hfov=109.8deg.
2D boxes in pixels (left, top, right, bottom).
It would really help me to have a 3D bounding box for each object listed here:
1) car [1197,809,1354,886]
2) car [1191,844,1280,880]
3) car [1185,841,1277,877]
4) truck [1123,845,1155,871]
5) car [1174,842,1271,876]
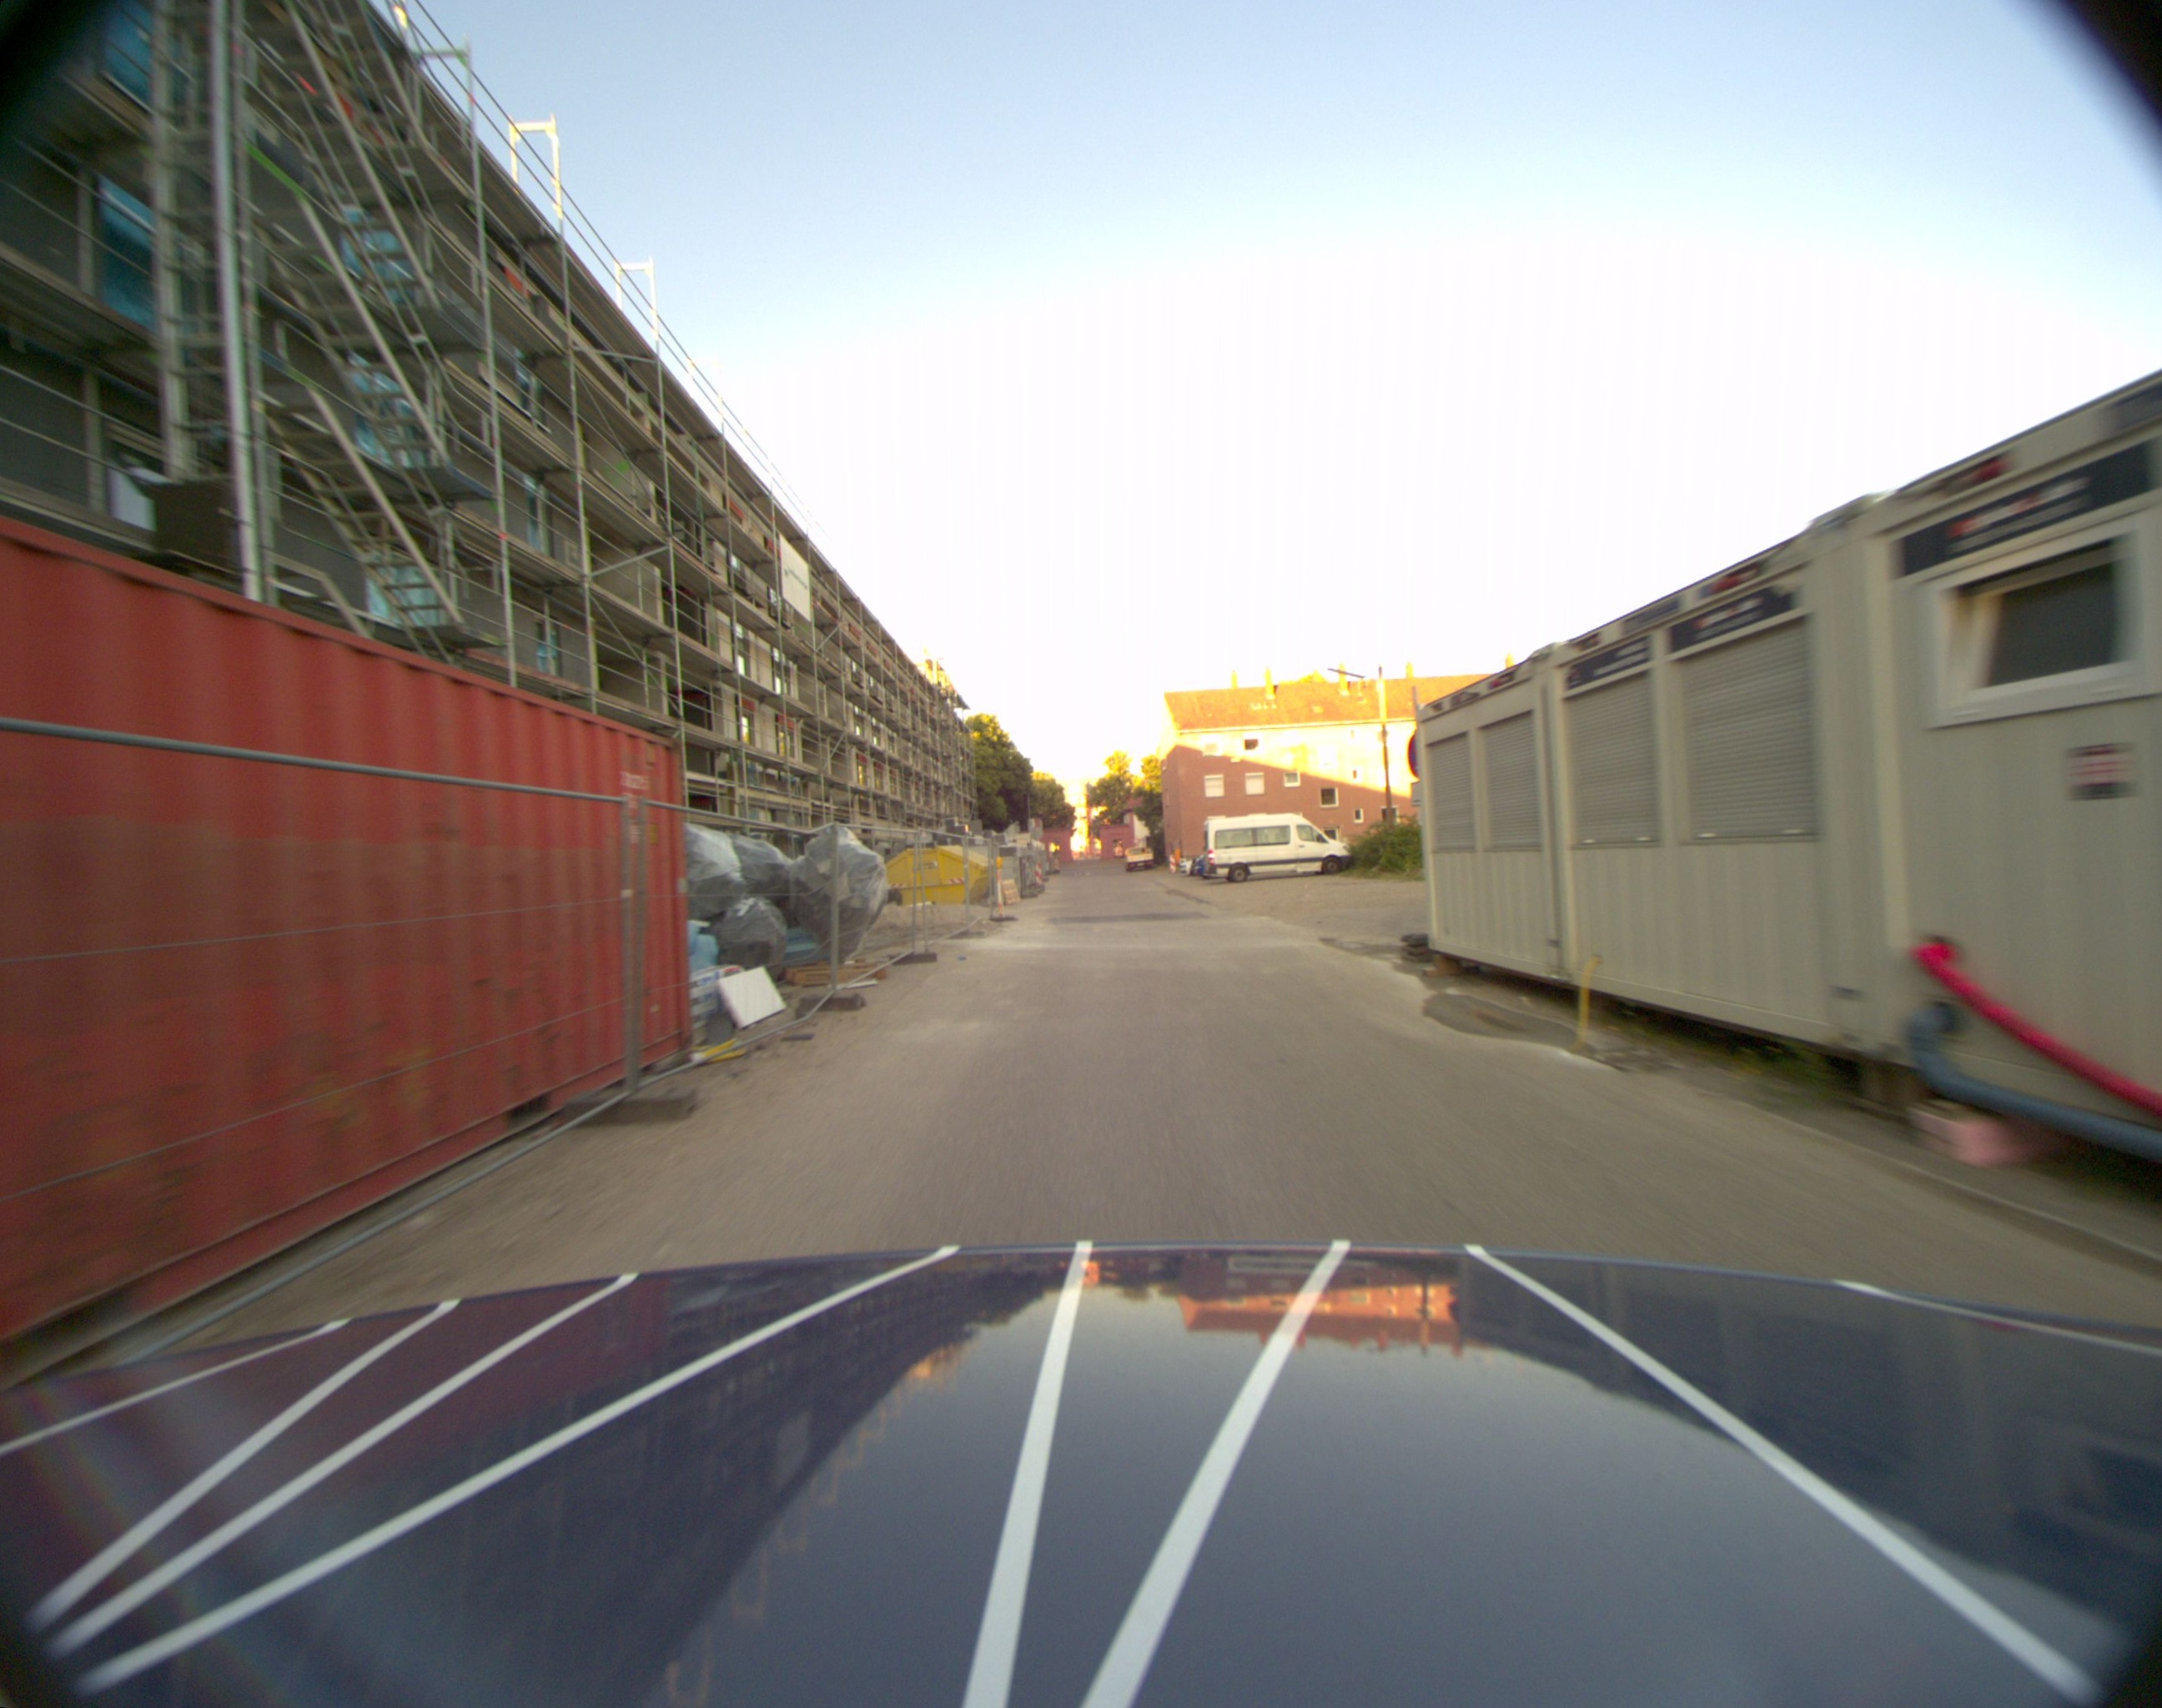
[{"bbox_3d":[7.854,-0.274,31.145,5.702,2.611,2.222,-4,1,2],"label":"car"},{"bbox_3d":[7.443,0.371,36.920,3.847,1.421,1.727,-4,1,-2],"label":"car"},{"bbox_3d":[7.972,0.267,40.602,4.428,1.535,1.727,-4,1,-3],"label":"car"},{"bbox_3d":[4.769,0.286,63.221,2.039,1.902,5.660,-5,1,0],"label":"truck"},{"bbox_3d":[8.027,0.270,43.376,5.007,1.535,2.115,-4,0,-4],"label":"car"}]
